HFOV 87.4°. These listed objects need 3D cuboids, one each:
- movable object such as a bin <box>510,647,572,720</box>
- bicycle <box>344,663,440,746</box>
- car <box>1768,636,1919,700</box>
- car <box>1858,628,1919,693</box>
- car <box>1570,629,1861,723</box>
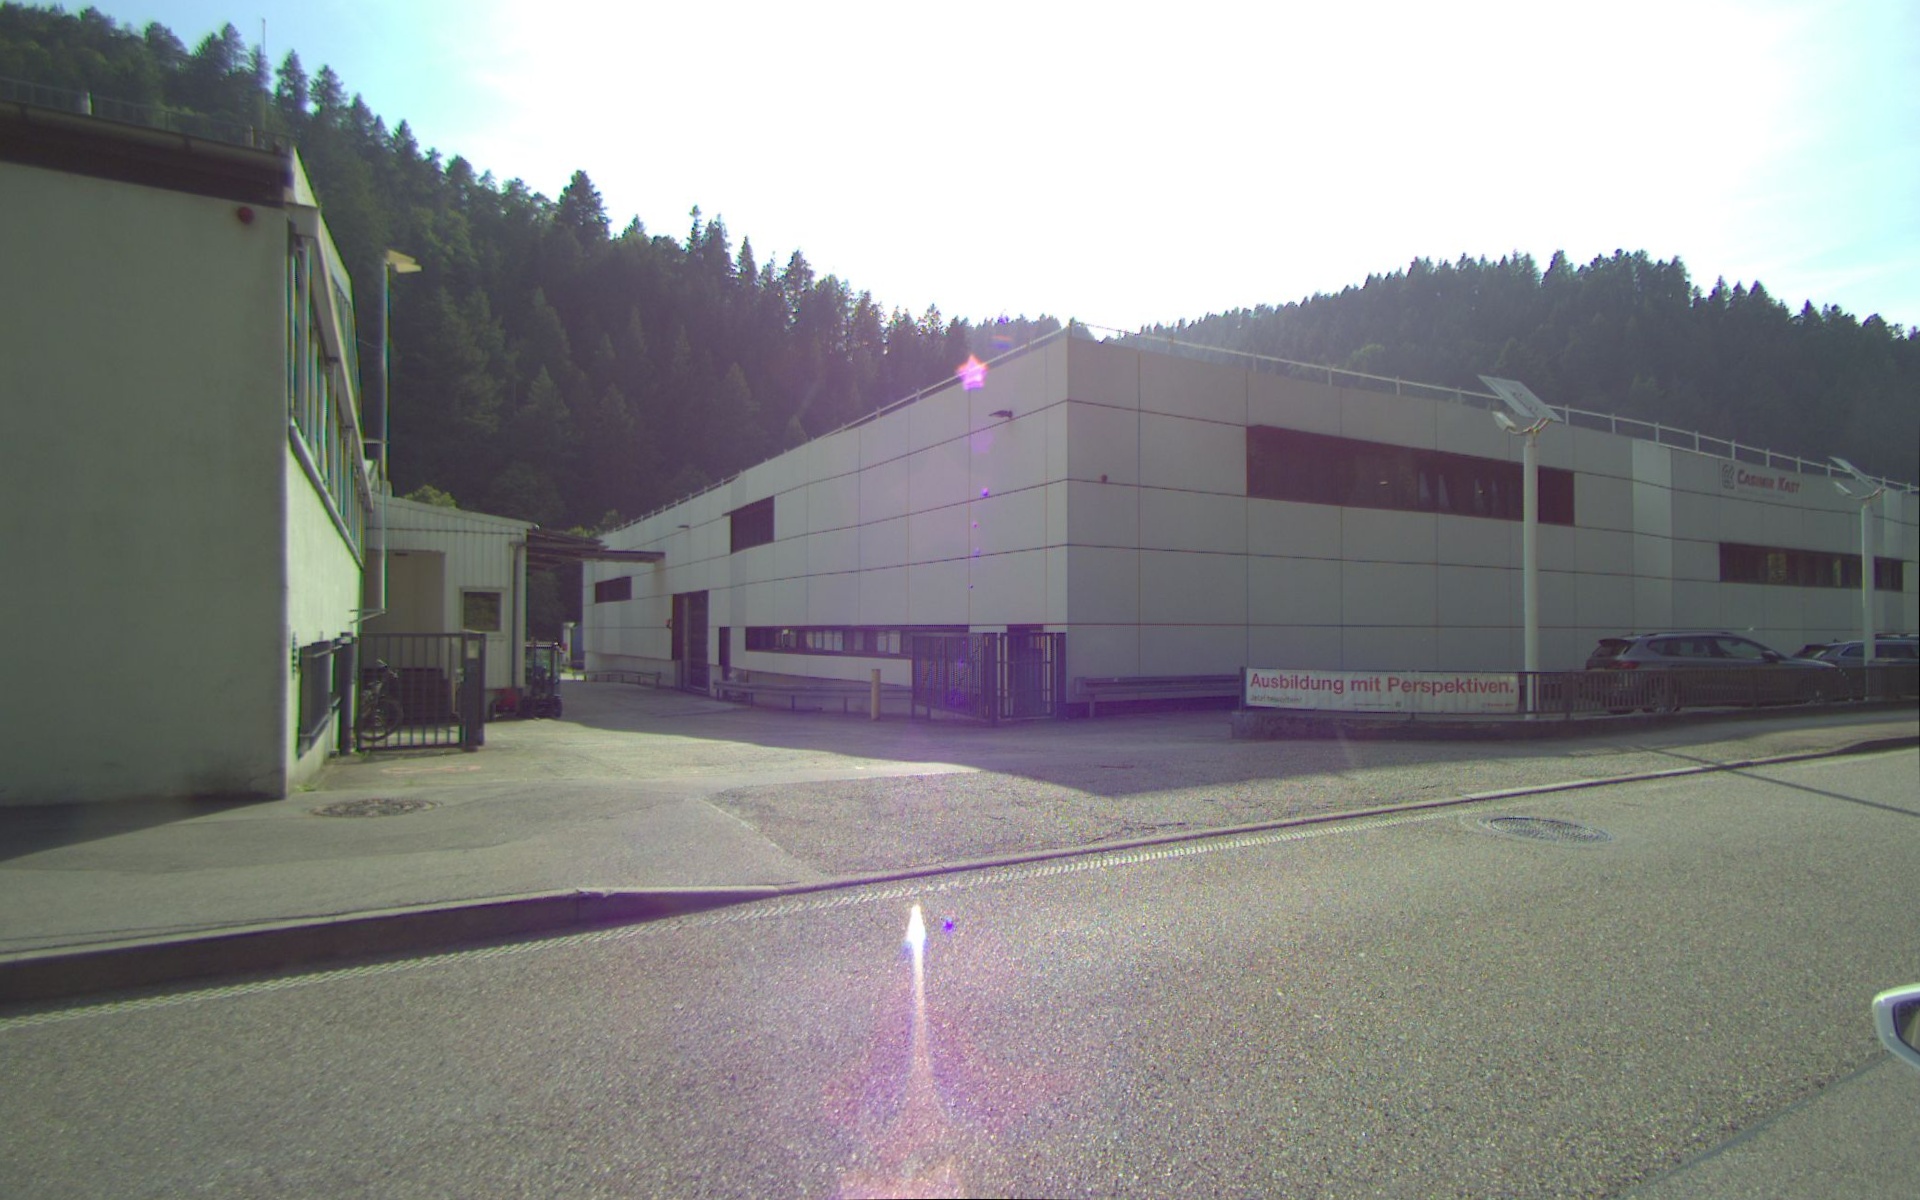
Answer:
[{"bbox_3d":[-12.296,2.413,29.439,1.367,2.040,1.806,1,-4,-32],"label":"movable object such as a bin"},{"bbox_3d":[-9.530,1.702,16.799,1.033,1.276,2.472,2,-4,-38],"label":"bicycle"},{"bbox_3d":[23.553,1.715,25.468,4.397,1.514,1.890,1,-1,12],"label":"car"},{"bbox_3d":[27.415,1.662,27.364,4.027,1.731,1.783,1,-1,12],"label":"car"},{"bbox_3d":[14.461,1.413,19.485,4.090,1.613,1.890,1,-1,12],"label":"car"}]
